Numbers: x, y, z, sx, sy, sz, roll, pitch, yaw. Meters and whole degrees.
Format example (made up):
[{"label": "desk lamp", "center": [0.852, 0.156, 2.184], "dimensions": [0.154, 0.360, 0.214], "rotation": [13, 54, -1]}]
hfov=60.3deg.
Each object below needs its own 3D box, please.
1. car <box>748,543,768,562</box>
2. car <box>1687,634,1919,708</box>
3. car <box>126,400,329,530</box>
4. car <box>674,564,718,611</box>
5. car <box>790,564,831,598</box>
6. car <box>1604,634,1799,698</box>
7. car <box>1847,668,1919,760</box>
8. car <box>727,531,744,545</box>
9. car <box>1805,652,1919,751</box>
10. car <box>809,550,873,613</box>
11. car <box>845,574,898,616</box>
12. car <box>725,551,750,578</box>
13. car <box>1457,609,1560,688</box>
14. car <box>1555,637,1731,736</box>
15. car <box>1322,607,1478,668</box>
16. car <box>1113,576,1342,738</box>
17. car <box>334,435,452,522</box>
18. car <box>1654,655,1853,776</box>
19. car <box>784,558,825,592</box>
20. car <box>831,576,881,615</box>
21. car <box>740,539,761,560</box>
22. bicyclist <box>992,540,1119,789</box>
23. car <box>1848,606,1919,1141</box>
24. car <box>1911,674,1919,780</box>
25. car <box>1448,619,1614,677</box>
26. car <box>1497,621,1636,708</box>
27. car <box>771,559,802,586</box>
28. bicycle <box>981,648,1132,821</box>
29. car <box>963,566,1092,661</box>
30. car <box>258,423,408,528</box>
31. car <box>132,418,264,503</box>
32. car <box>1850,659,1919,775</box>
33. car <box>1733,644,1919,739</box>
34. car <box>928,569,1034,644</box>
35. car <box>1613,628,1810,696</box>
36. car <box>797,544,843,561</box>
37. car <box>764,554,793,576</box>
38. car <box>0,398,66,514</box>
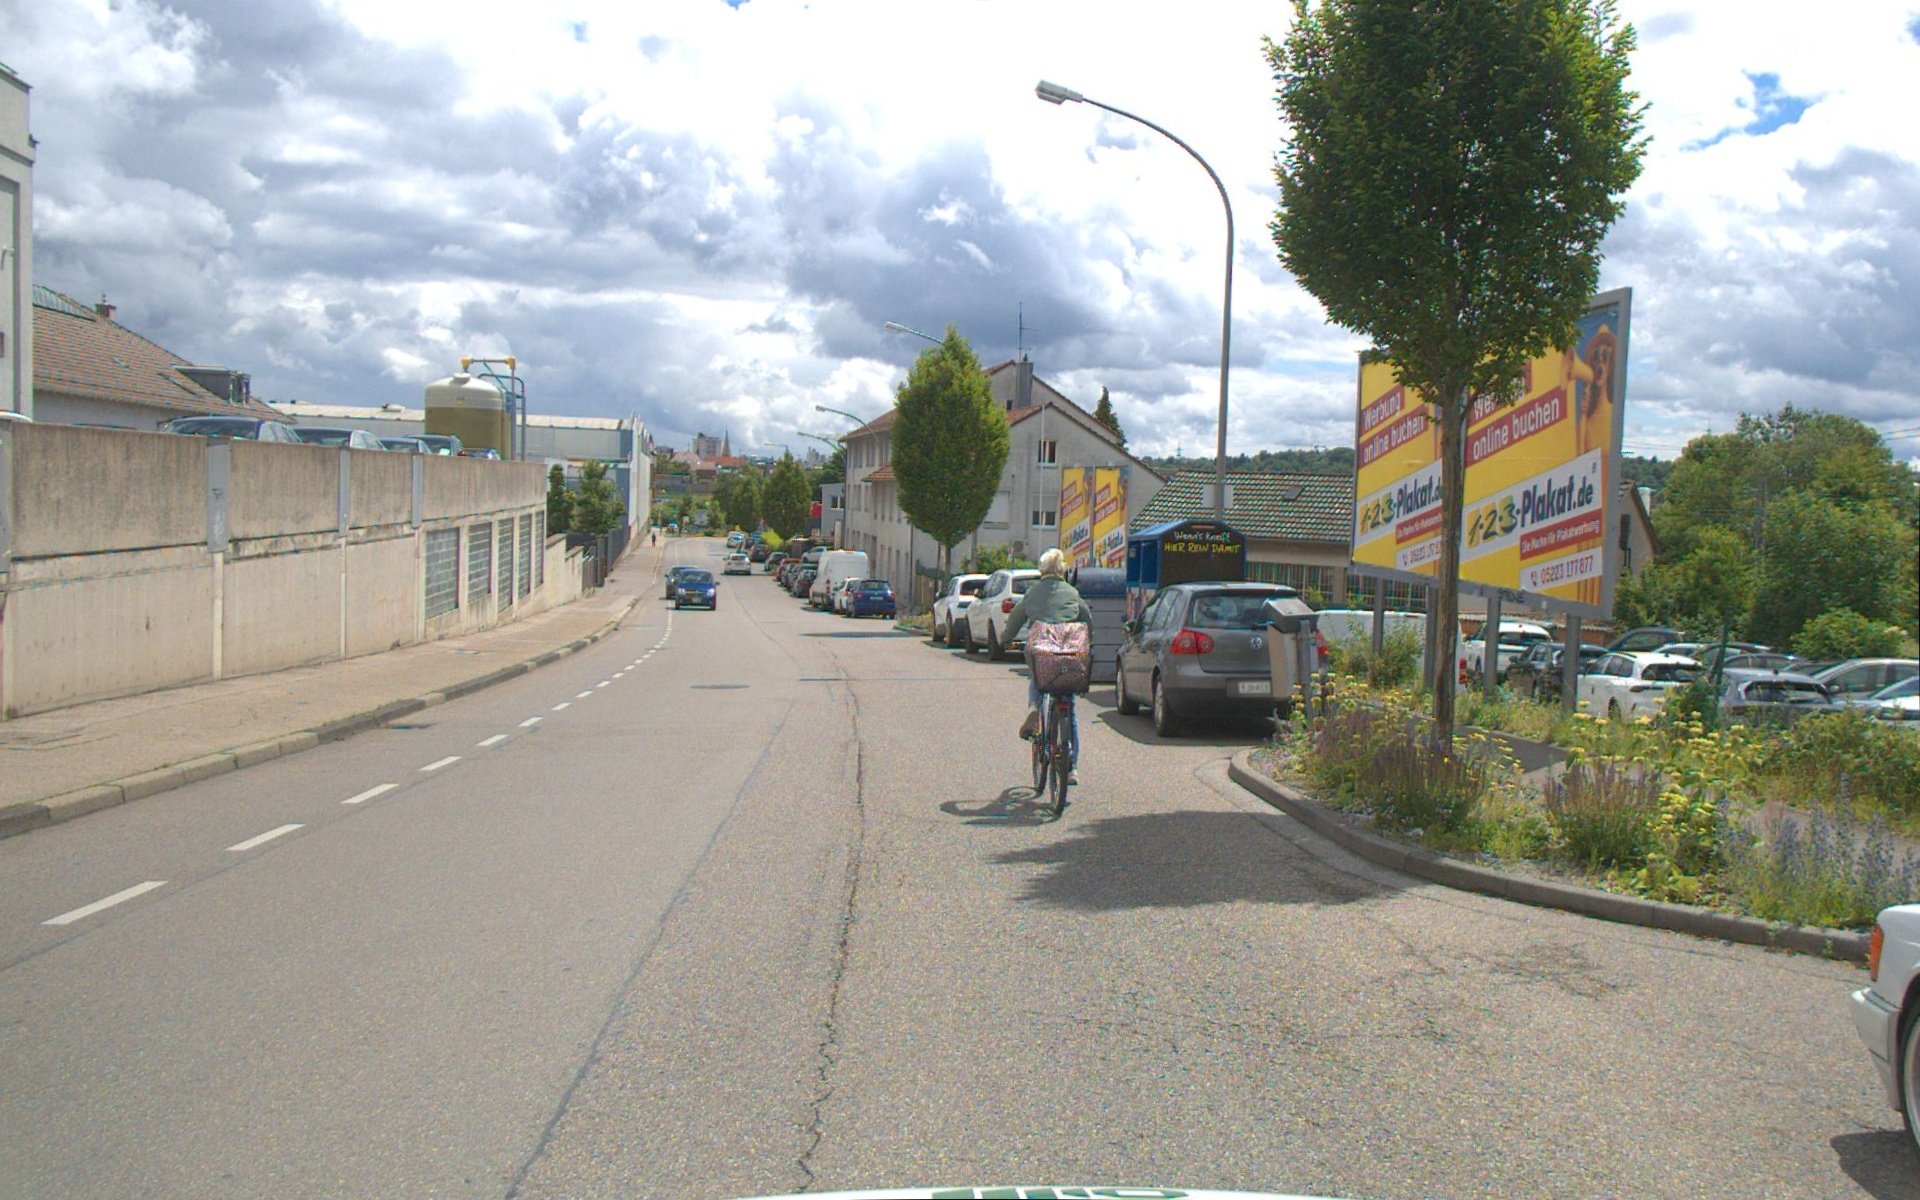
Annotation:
[{"label": "car", "center": [-18.391, -4.336, 150.594], "dimensions": [1.648, 1.666, 4.116], "rotation": [1, 2, -8]}, {"label": "car", "center": [17.298, 1.434, 34.087], "dimensions": [3.944, 1.414, 1.746], "rotation": [0, 0, 12]}, {"label": "car", "center": [-11.168, -1.996, 25.516], "dimensions": [1.772, 1.665, 4.097], "rotation": [1, 0, -8]}, {"label": "car", "center": [-10.818, -0.512, 67.596], "dimensions": [1.598, 1.849, 3.769], "rotation": [0, 1, -12]}, {"label": "car", "center": [-8.237, -1.072, 91.005], "dimensions": [1.674, 1.535, 5.076], "rotation": [3, 3, -11]}, {"label": "car", "center": [17.725, 1.561, 39.732], "dimensions": [4.086, 1.414, 1.791], "rotation": [0, 1, 18]}, {"label": "car", "center": [16.679, 1.863, 26.583], "dimensions": [3.902, 1.353, 1.757], "rotation": [1, 0, 12]}, {"label": "car", "center": [-28.273, -7.863, 208.501], "dimensions": [1.672, 1.553, 3.726], "rotation": [4, 2, -14]}, {"label": "car", "center": [17.205, 1.787, 28.993], "dimensions": [3.902, 1.586, 1.824], "rotation": [1, 0, 12]}, {"label": "car", "center": [-5.446, -0.834, 74.840], "dimensions": [1.997, 2.687, 7.263], "rotation": [1, 0, -11]}, {"label": "car", "center": [-3.457, -0.216, 64.126], "dimensions": [1.538, 1.536, 4.084], "rotation": [1, 0, -10]}, {"label": "car", "center": [-15.539, -2.460, 115.206], "dimensions": [1.538, 1.817, 3.597], "rotation": [1, 0, -10]}, {"label": "car", "center": [13.474, 1.141, 40.848], "dimensions": [1.712, 1.714, 4.684], "rotation": [0, 1, 9]}, {"label": "car", "center": [12.597, 1.549, 30.816], "dimensions": [1.714, 1.544, 4.585], "rotation": [0, 1, 5]}, {"label": "car", "center": [12.597, 1.035, 47.467], "dimensions": [3.970, 1.414, 1.735], "rotation": [4, 3, 40]}, {"label": "car", "center": [2.694, 0.509, 17.493], "dimensions": [1.622, 1.511, 4.043], "rotation": [0, 1, -2]}, {"label": "car", "center": [-12.788, -2.695, 37.533], "dimensions": [1.772, 1.665, 4.097], "rotation": [1, 0, -8]}, {"label": "car", "center": [12.275, 1.731, 25.867], "dimensions": [1.658, 1.471, 4.157], "rotation": [2, 1, 9]}, {"label": "car", "center": [-9.079, -1.474, 96.504], "dimensions": [1.648, 1.666, 4.781], "rotation": [3, 3, -13]}, {"label": "car", "center": [-4.371, -0.218, 68.928], "dimensions": [1.564, 1.536, 3.780], "rotation": [1, 0, -11]}, {"label": "car", "center": [-20.948, -5.038, 165.160], "dimensions": [1.835, 2.024, 5.132], "rotation": [1, 2, -10]}, {"label": "bicyclist", "center": [0.650, 0.432, 11.452], "dimensions": [0.725, 1.655, 0.730], "rotation": [1, 0, -7]}, {"label": "car", "center": [3.338, 0.773, 2.631], "dimensions": [1.603, 1.411, 4.205], "rotation": [2, 1, 1]}, {"label": "car", "center": [15.138, 1.822, 22.069], "dimensions": [3.903, 1.467, 1.738], "rotation": [1, 0, 16]}, {"label": "car", "center": [15.089, 1.239, 43.740], "dimensions": [3.954, 1.414, 1.522], "rotation": [0, 1, 30]}, {"label": "car", "center": [12.931, 1.332, 35.517], "dimensions": [1.773, 1.650, 4.466], "rotation": [0, 1, 6]}, {"label": "car", "center": [-11.399, -1.815, 108.514], "dimensions": [1.703, 1.497, 4.253], "rotation": [2, 3, -9]}, {"label": "bicycle", "center": [0.626, 0.882, 11.364], "dimensions": [0.726, 0.992, 1.730], "rotation": [2, 1, -7]}, {"label": "car", "center": [1.232, 0.224, 32.088], "dimensions": [1.654, 1.688, 4.471], "rotation": [1, 1, -9]}, {"label": "car", "center": [-11.796, -2.290, 31.379], "dimensions": [1.772, 1.665, 4.097], "rotation": [1, 0, -8]}, {"label": "car", "center": [-17.960, -3.246, 39.172], "dimensions": [1.773, 1.665, 4.104], "rotation": [1, 0, -10]}, {"label": "car", "center": [15.911, 1.765, 24.525], "dimensions": [4.351, 1.582, 2.002], "rotation": [1, 0, 9]}, {"label": "car", "center": [17.164, 1.737, 31.728], "dimensions": [3.902, 1.640, 1.798], "rotation": [1, 0, 12]}, {"label": "car", "center": [0.421, 0.117, 37.959], "dimensions": [1.807, 1.592, 4.458], "rotation": [0, 1, -8]}, {"label": "car", "center": [16.893, 1.380, 37.361], "dimensions": [3.905, 1.414, 1.598], "rotation": [0, 0, 19]}, {"label": "car", "center": [-12.293, -4.165, 145.085], "dimensions": [4.002, 1.488, 1.715], "rotation": [1, 4, 42]}, {"label": "car", "center": [-13.656, -2.636, 124.439], "dimensions": [1.759, 1.491, 4.696], "rotation": [1, 2, -11]}, {"label": "car", "center": [-15.681, -2.279, 25.814], "dimensions": [1.773, 1.665, 4.104], "rotation": [1, 0, -10]}]
